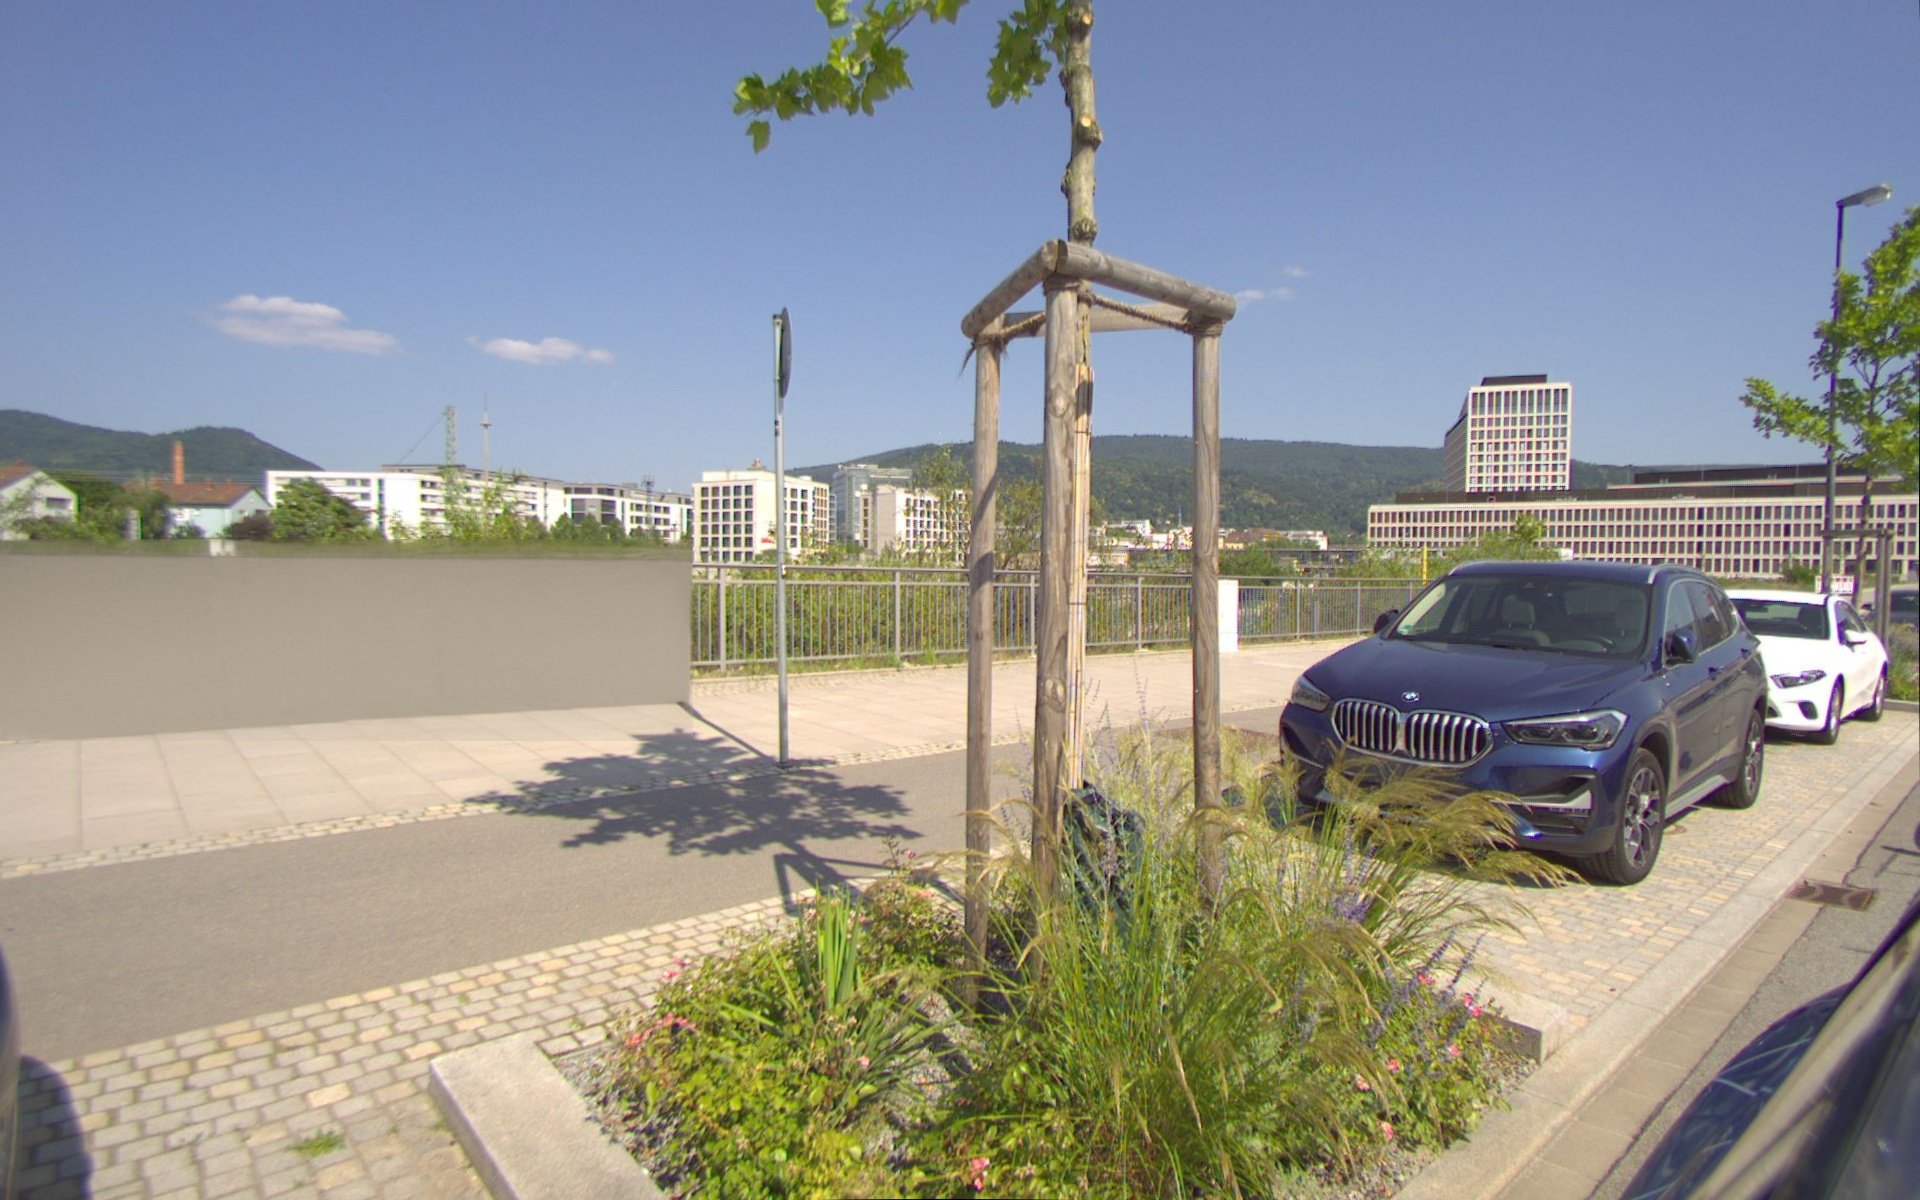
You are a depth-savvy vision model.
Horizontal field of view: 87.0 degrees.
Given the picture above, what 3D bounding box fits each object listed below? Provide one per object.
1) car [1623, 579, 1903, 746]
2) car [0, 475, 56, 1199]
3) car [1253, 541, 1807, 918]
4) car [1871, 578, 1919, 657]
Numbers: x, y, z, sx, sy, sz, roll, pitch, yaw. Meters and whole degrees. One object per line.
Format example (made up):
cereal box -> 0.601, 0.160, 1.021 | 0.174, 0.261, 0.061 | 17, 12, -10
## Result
car -> 8.736, 0.530, 10.894 | 3.930, 1.473, 1.663 | -1, 0, -41
car -> -3.001, 0.559, 0.379 | 3.931, 1.443, 1.664 | -1, 4, -41
car -> 3.804, 0.535, 6.421 | 4.164, 1.627, 1.768 | -1, 0, -41
car -> 20.455, 0.331, 21.131 | 3.930, 1.558, 1.663 | -1, 0, -41
